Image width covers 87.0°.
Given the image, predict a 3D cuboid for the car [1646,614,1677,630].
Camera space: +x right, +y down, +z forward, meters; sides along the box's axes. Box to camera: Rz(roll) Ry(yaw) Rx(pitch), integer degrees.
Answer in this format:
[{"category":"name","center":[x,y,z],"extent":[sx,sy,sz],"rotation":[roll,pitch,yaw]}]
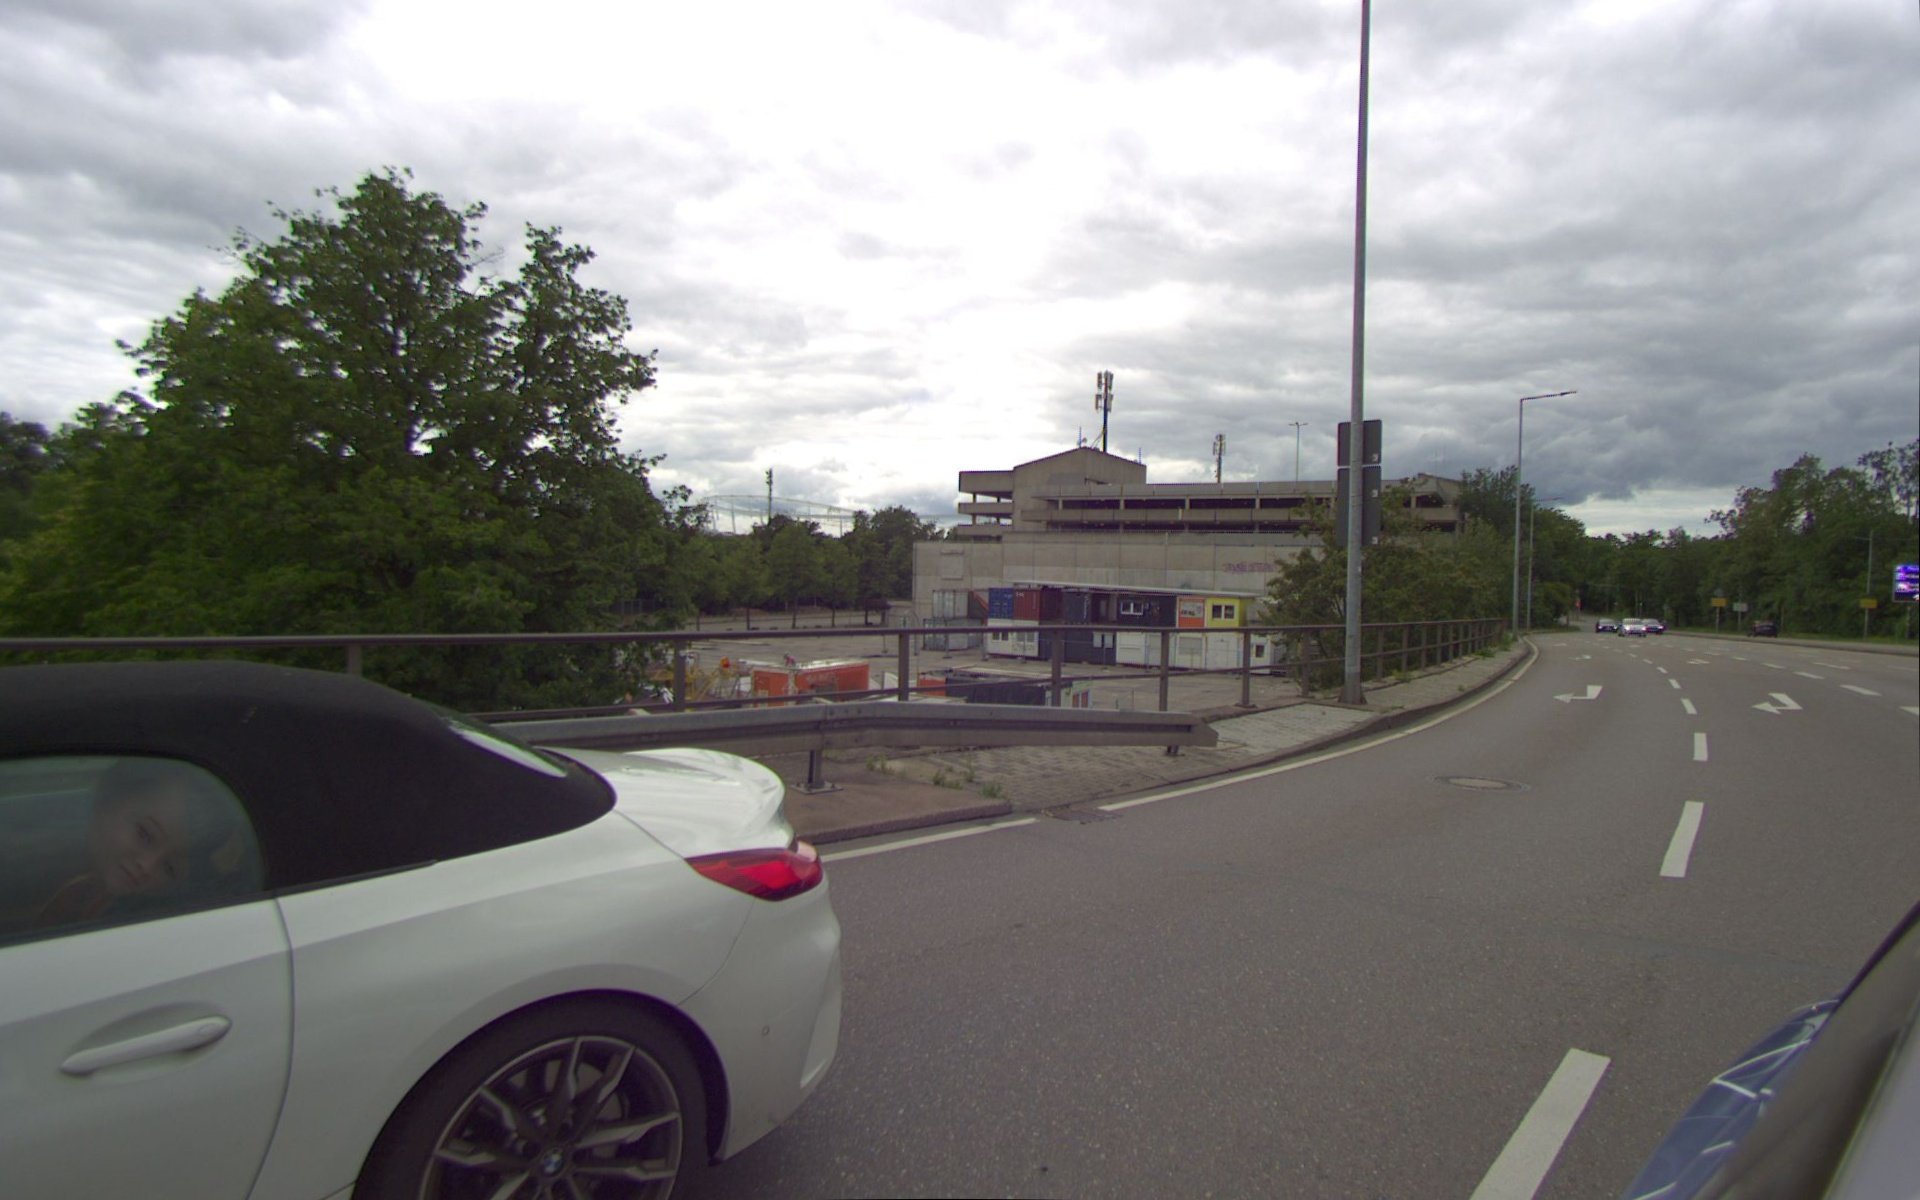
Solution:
[{"category":"car","center":[66.060,2.022,95.377],"extent":[1.826,1.434,4.535],"rotation":[1,0,28]}]

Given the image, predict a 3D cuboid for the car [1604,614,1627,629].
[{"category":"car","center":[66.991,2.203,103.453],"extent":[1.852,1.434,4.288],"rotation":[1,0,32]}]

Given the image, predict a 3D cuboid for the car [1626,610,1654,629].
[{"category":"car","center":[53.649,1.555,79.877],"extent":[1.597,1.434,3.552],"rotation":[1,0,31]}]

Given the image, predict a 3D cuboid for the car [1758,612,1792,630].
[{"category":"car","center":[71.808,1.831,89.166],"extent":[1.690,1.483,3.958],"rotation":[-1,0,30]}]

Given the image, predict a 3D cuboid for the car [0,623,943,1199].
[{"category":"car","center":[-2.251,0.739,2.009],"extent":[4.184,1.308,1.810],"rotation":[0,0,-37]}]
